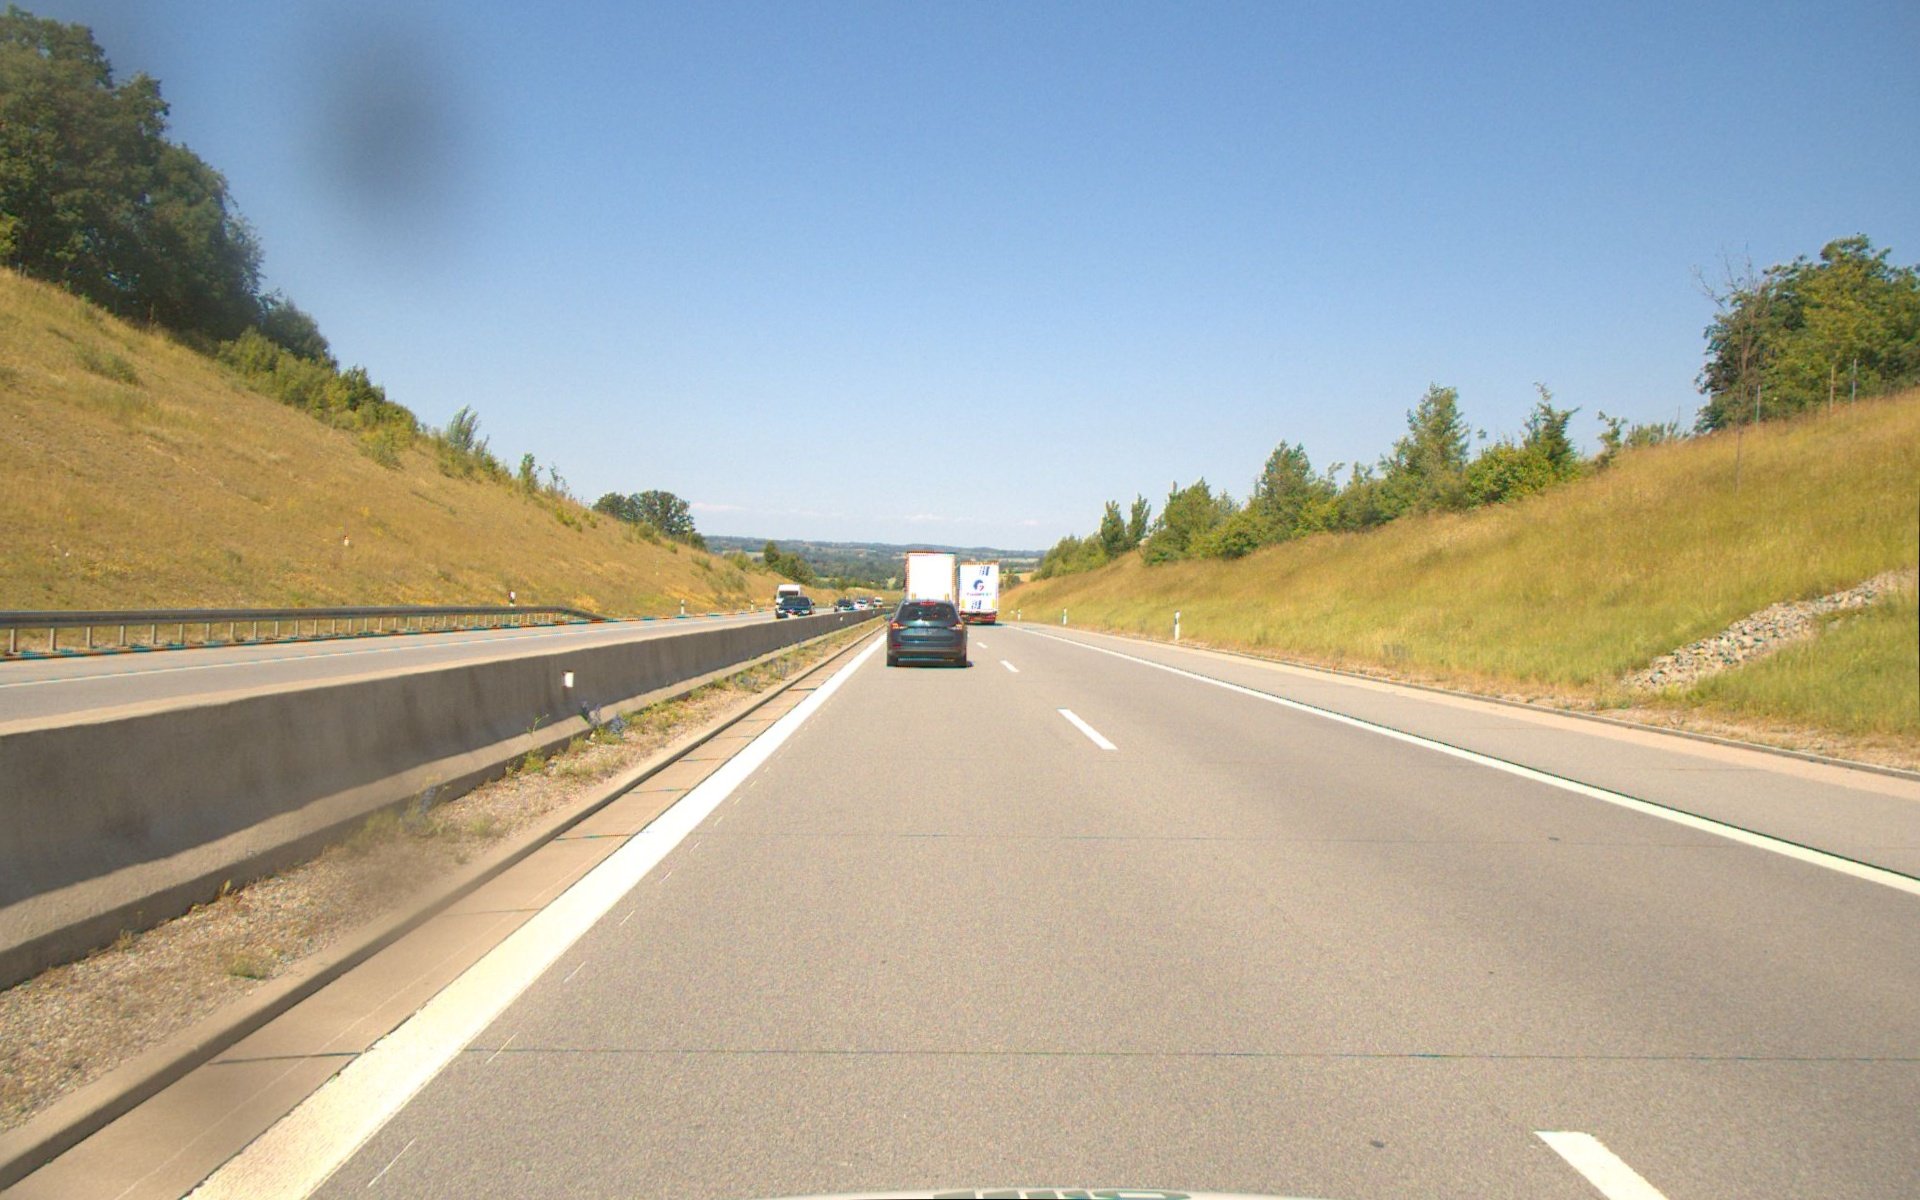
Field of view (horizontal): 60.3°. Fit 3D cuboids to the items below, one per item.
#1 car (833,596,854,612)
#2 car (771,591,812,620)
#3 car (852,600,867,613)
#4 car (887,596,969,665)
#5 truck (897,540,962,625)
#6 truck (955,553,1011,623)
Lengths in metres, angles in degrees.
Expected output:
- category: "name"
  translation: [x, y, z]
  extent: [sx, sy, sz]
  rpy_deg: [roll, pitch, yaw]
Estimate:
- category: "car"
  translation: [-11.178, 0.358, 158.700]
  extent: [1.816, 1.487, 4.331]
  rpy_deg: [1, 0, -2]
- category: "car"
  translation: [-8.927, 0.277, 88.040]
  extent: [1.816, 1.487, 4.766]
  rpy_deg: [1, 0, -2]
- category: "car"
  translation: [-13.513, 0.864, 222.465]
  extent: [1.740, 1.629, 4.038]
  rpy_deg: [1, 0, -2]
- category: "car"
  translation: [-0.767, 0.640, 37.029]
  extent: [1.741, 1.466, 3.787]
  rpy_deg: [0, 0, -3]
- category: "truck"
  translation: [-1.606, -0.924, 93.334]
  extent: [3.144, 4.458, 11.235]
  rpy_deg: [1, 0, 1]
- category: "truck"
  translation: [1.613, -0.770, 113.162]
  extent: [3.530, 4.458, 11.234]
  rpy_deg: [1, 0, 1]
